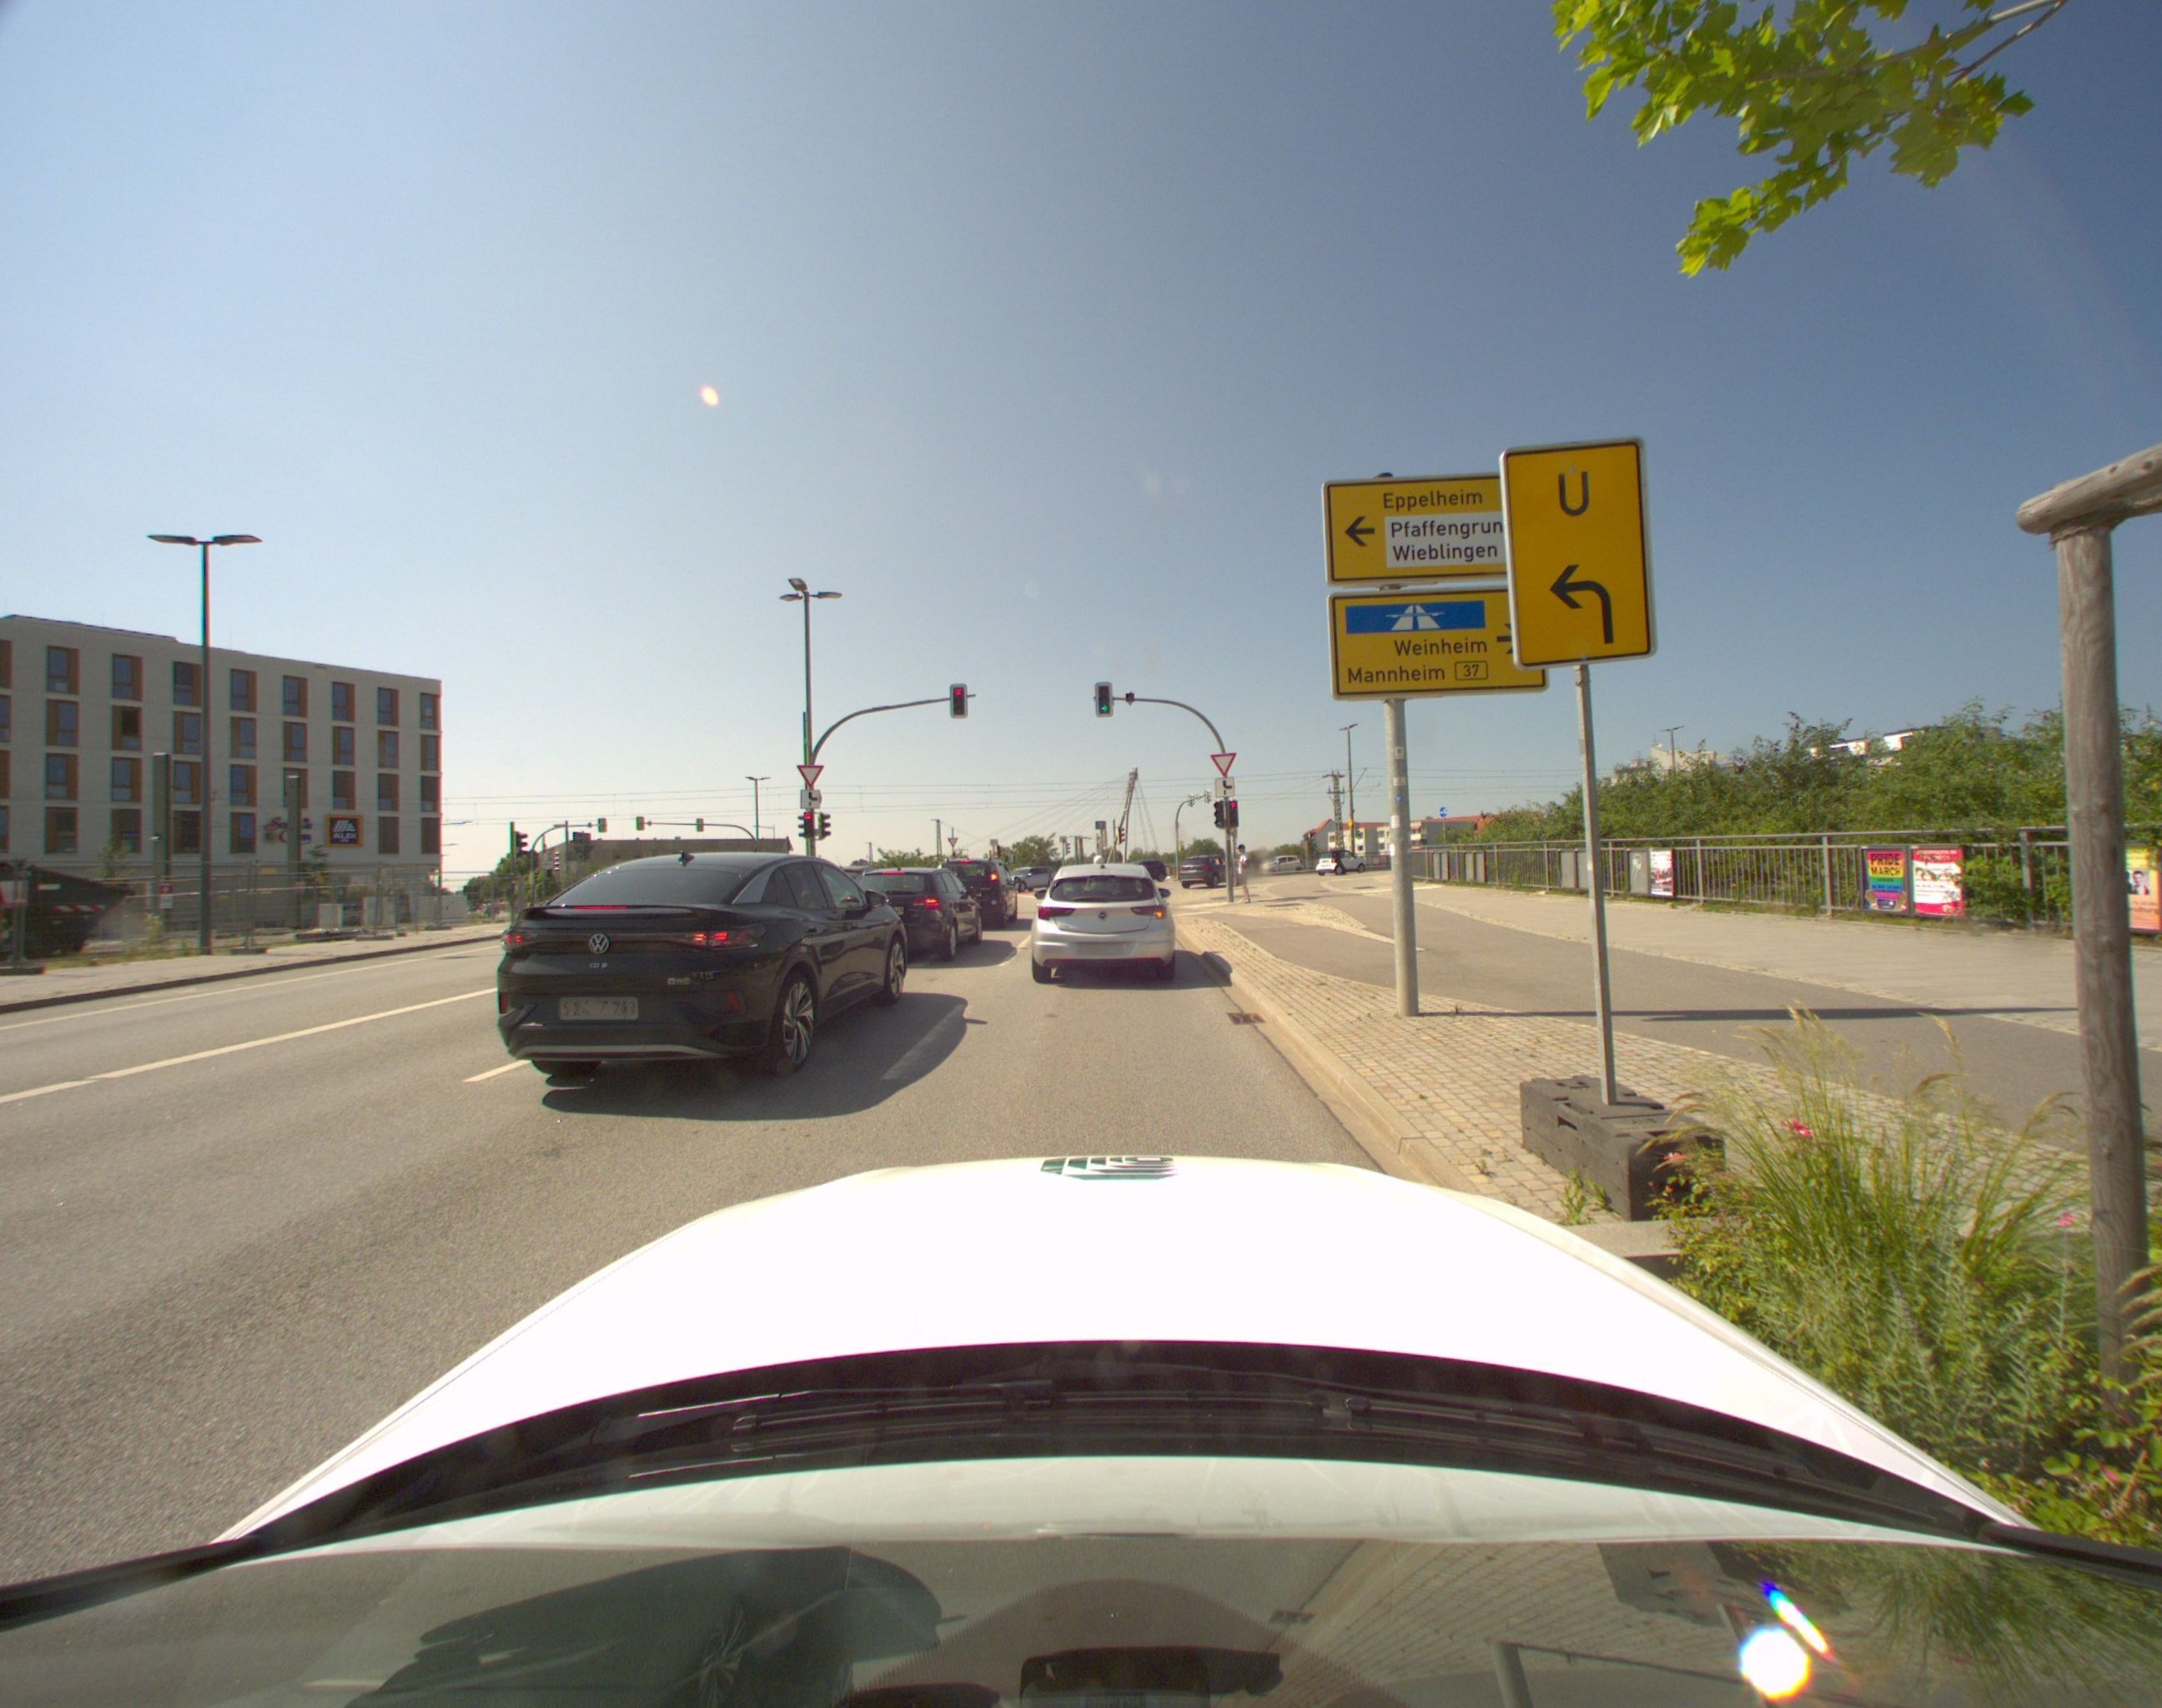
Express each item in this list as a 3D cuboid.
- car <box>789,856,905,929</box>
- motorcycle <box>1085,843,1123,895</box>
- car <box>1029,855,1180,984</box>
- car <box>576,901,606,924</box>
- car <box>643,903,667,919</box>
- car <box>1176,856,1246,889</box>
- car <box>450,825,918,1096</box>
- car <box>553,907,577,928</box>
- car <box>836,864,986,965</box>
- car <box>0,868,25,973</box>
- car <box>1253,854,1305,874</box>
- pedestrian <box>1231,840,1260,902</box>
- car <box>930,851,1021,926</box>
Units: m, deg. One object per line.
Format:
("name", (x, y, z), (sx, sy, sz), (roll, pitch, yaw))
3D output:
("car", (-5.380, 0.849, 19.194), (1.592, 1.547, 3.762), (0, -1, 0))
("motorcycle", (0.490, 0.372, 18.521), (0.500, 1.013, 2.169), (-8, -3, -5))
("car", (0.277, 0.787, 11.396), (1.737, 1.478, 3.999), (0, -1, 0))
("car", (-37.766, 4.479, 62.768), (1.686, 1.476, 3.369), (-2, 0, -36))
("car", (-40.659, 5.384, 77.687), (1.617, 1.339, 2.892), (1, -1, -37))
("car", (6.555, 0.883, 40.794), (1.707, 1.564, 4.025), (0, 0, 38))
("car", (-2.866, 0.680, 7.155), (1.794, 1.641, 4.368), (0, -1, 2))
("car", (-43.595, 5.324, 68.736), (1.577, 1.587, 3.442), (1, -1, -34))
("car", (-2.632, 0.886, 13.464), (1.569, 1.434, 3.787), (0, -1, 2))
("car", (-22.566, 1.248, 14.372), (1.964, 1.962, 4.655), (-1, -1, 41))
("car", (15.426, 0.772, 63.532), (3.633, 1.486, 1.680), (0, -1, -18))
("pedestrian", (4.997, 0.516, 24.765), (0.645, 1.836, 0.798), (-3, -1, 0))
("car", (-2.406, 0.771, 19.466), (1.644, 1.615, 3.820), (0, -1, 0))
